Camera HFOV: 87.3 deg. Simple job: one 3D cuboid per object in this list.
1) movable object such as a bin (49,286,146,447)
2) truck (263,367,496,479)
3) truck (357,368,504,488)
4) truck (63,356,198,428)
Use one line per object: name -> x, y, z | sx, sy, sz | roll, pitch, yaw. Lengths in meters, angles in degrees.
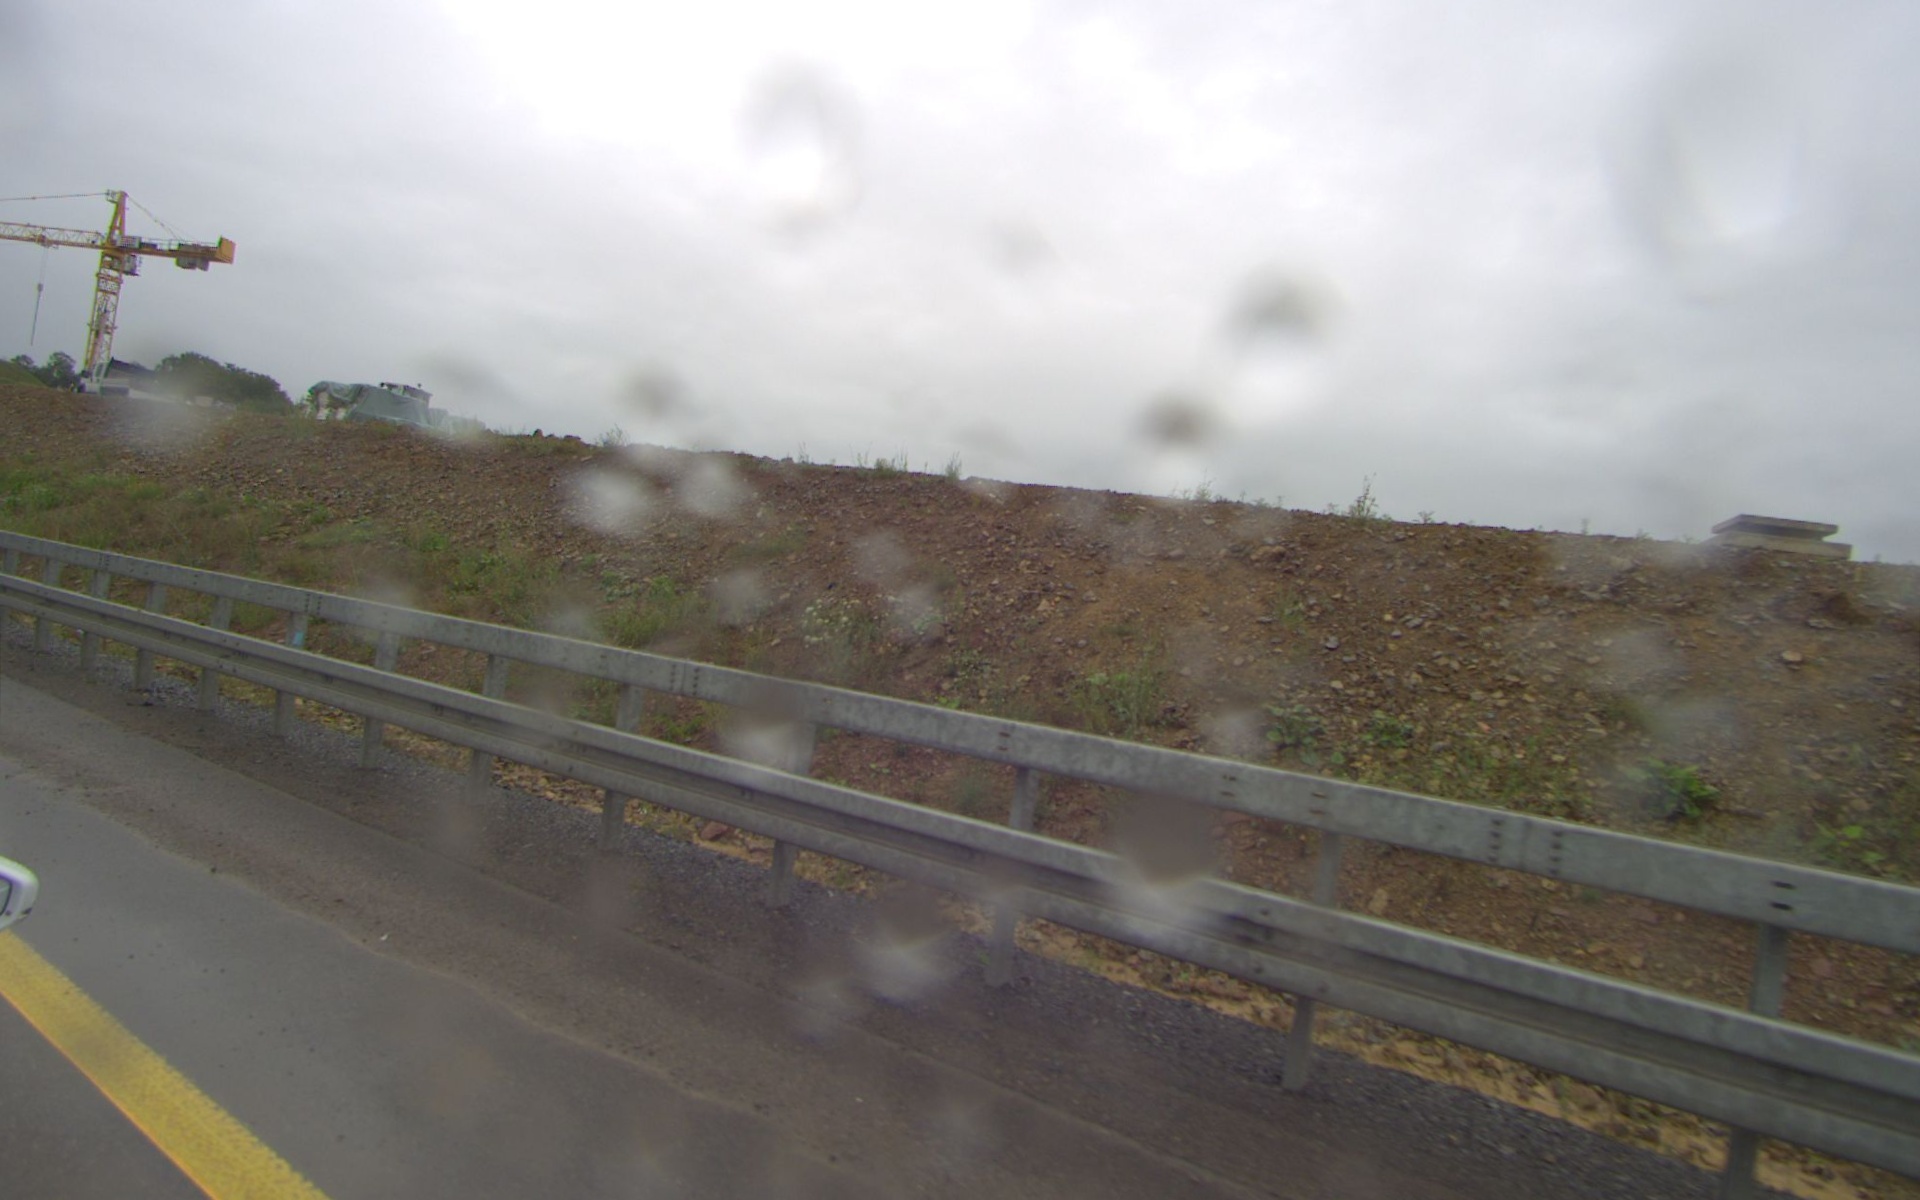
movable object such as a bin -> -71.096, -18.806, 82.795 | 4.704, 10.972, 10.178 | 7, -1, -43
truck -> -20.619, -6.127, 35.506 | 8.816, 2.909, 3.399 | 6, -1, 34
truck -> -21.985, -7.086, 41.700 | 5.880, 4.269, 2.377 | 6, -1, 32
truck -> -39.195, -9.734, 47.478 | 6.869, 2.585, 2.649 | 6, -1, 32
